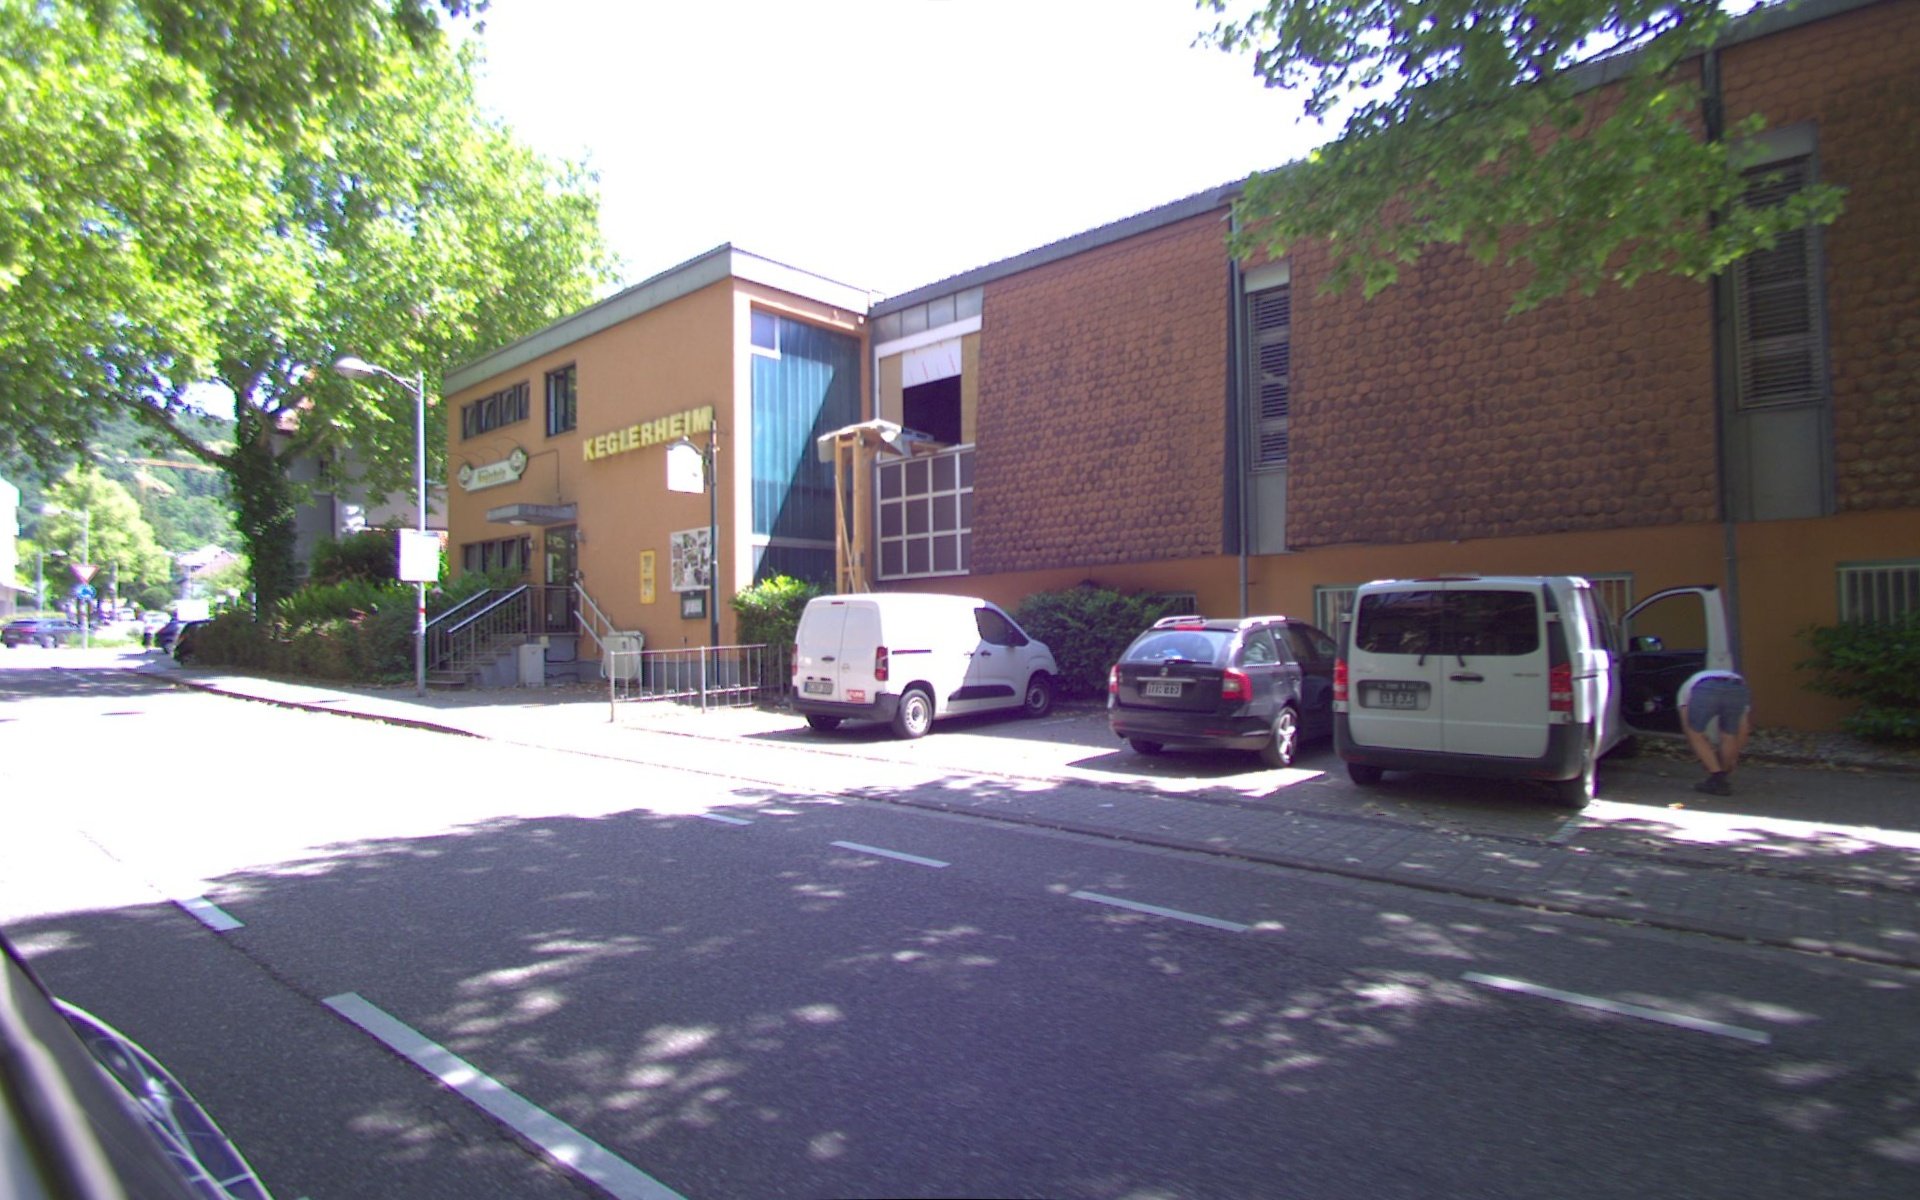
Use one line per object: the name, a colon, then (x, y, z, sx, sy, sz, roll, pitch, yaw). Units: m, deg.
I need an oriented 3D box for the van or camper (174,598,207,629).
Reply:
van or camper: (-69.912, 1.239, 91.940, 2.238, 2.658, 5.897, -2, 0, -38)

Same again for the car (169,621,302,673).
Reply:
car: (-22.959, 1.458, 32.103, 3.338, 1.558, 1.727, 2, -2, -39)

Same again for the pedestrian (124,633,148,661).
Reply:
pedestrian: (-34.409, 1.960, 42.260, 0.744, 1.130, 0.899, 2, -2, -39)

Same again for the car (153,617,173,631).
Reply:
car: (-105.574, 3.151, 133.987, 1.968, 1.679, 4.007, 2, -1, -40)

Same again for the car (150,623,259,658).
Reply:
car: (-33.091, 1.765, 44.358, 3.732, 1.471, 1.727, 2, -2, -39)

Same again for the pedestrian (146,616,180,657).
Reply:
pedestrian: (-35.452, 1.621, 45.024, 0.859, 1.755, 1.116, 1, -2, -22)

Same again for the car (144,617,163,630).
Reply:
car: (-112.950, 3.272, 141.649, 1.968, 1.679, 4.007, 2, -1, -40)

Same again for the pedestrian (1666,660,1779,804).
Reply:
pedestrian: (6.375, 1.066, 8.454, 0.691, 1.089, 0.759, -1, -2, 41)

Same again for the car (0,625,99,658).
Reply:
car: (-43.105, 1.926, 47.639, 1.747, 1.437, 4.398, 1, -2, -6)

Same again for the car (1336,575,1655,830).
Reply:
car: (5.232, 0.725, 9.551, 1.901, 1.818, 4.380, -1, 0, 38)

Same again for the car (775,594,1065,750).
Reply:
car: (-0.412, 0.840, 13.898, 1.866, 1.806, 3.948, -1, 0, 38)

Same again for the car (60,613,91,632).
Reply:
car: (-73.198, 1.865, 83.761, 1.728, 1.516, 4.000, 2, -2, -39)

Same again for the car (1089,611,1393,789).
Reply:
car: (3.251, 0.921, 11.184, 1.866, 1.527, 3.948, -1, 0, 38)

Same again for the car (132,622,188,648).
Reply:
car: (-46.077, 2.011, 58.356, 1.580, 1.463, 4.013, 2, -2, -24)
